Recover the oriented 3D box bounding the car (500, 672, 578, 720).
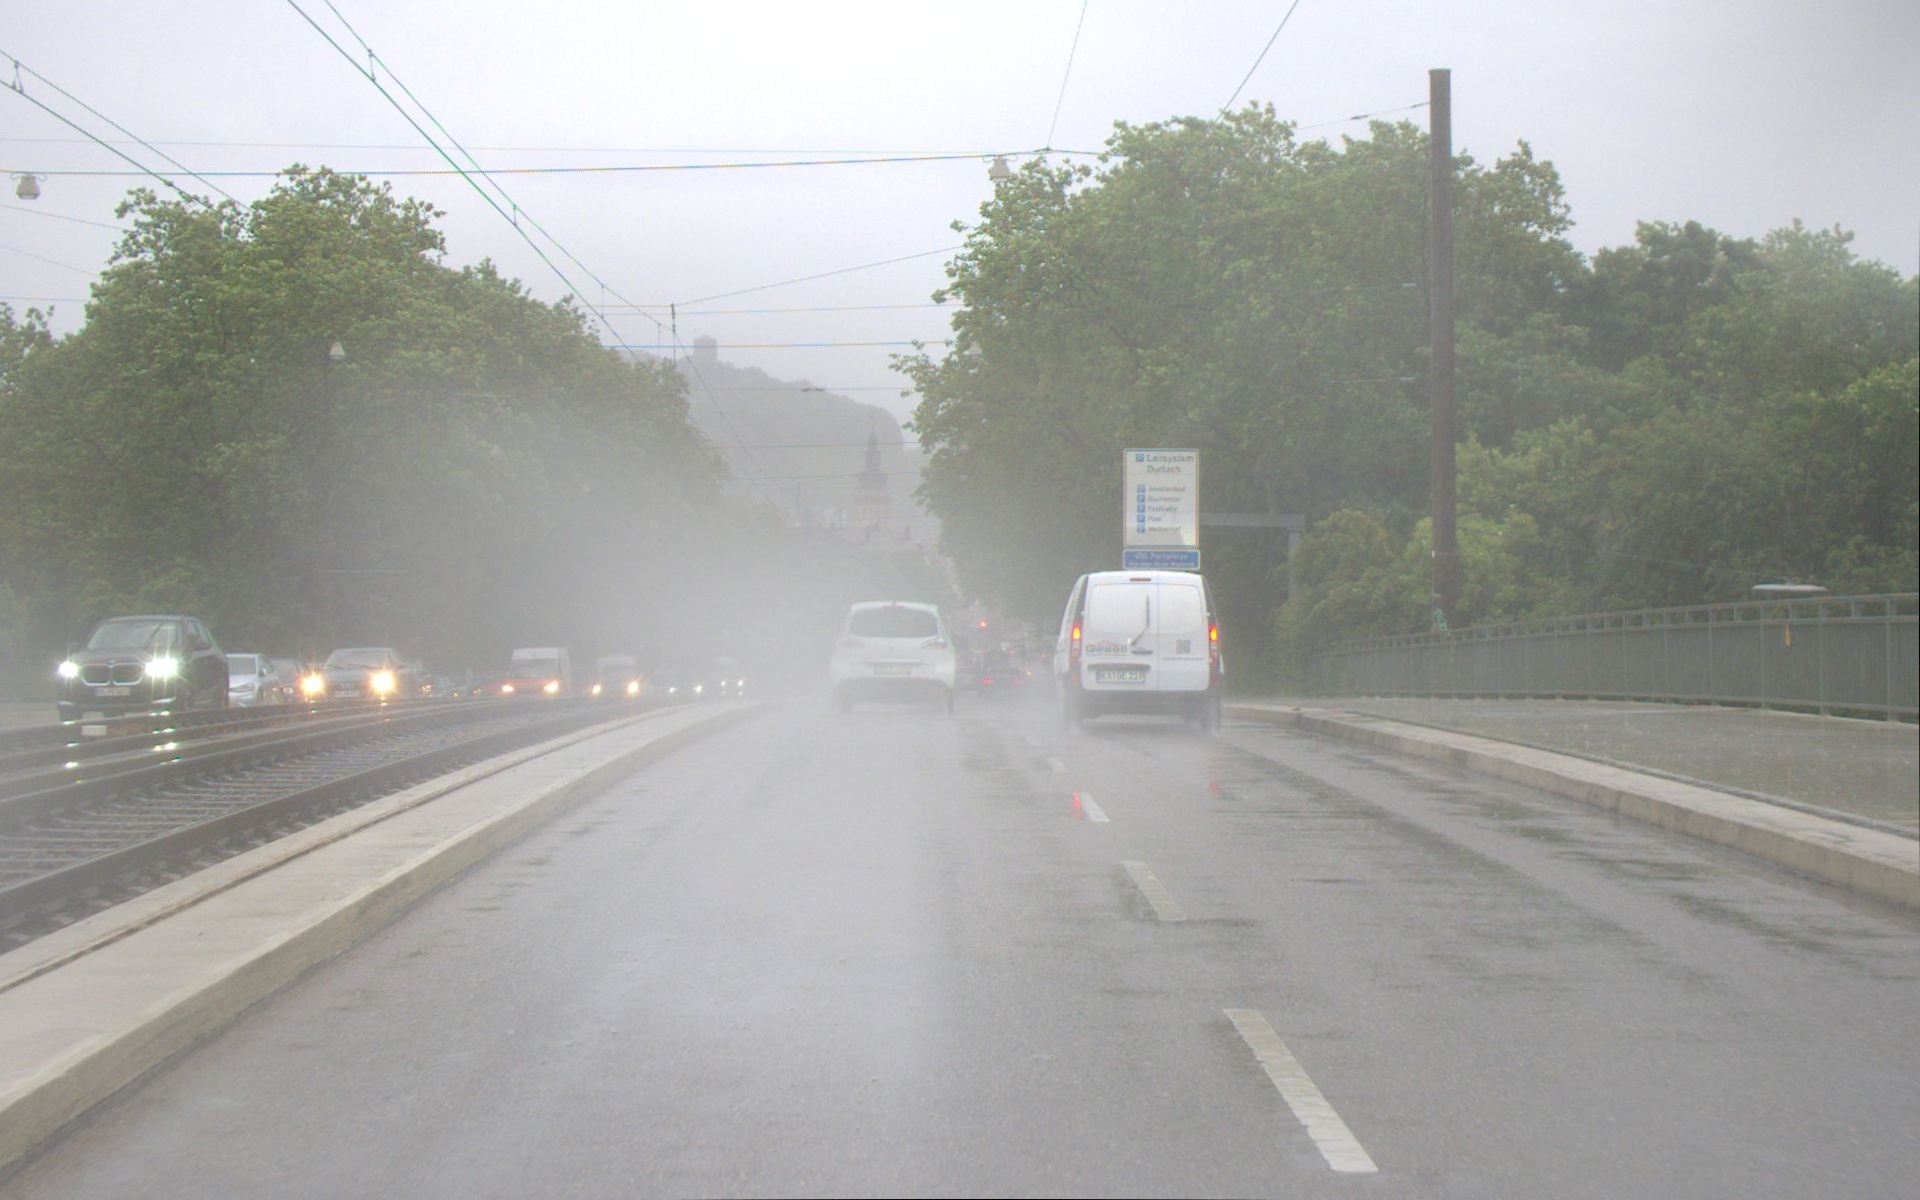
[{"bbox_3d":[-12.580,2.850,102.920,1.799,1.311,4.083,1,-1,0],"label":"car"}]

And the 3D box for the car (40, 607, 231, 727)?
[{"bbox_3d":[-12.088,0.968,50.615,1.818,1.649,4.000,1,-1,0],"label":"car"}]

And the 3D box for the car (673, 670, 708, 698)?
[{"bbox_3d":[-14.517,4.505,185.373,1.506,1.396,4.707,-2,0,0],"label":"car"}]

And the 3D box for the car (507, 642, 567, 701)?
[{"bbox_3d":[-16.344,2.754,132.998,1.741,2.162,5.814,-2,0,-2],"label":"car"}]

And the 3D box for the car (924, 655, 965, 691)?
[{"bbox_3d":[-0.790,3.818,179.974,1.993,1.821,4.000,1,-1,2],"label":"car"}]

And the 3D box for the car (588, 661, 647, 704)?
[{"bbox_3d":[-13.125,3.153,131.814,1.816,1.363,4.265,1,2,0],"label":"car"}]

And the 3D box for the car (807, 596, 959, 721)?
[{"bbox_3d":[-1.081,0.846,50.421,1.993,1.711,4.000,1,-1,2],"label":"car"}]

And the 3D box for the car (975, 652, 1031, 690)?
[{"bbox_3d":[1.634,2.648,128.870,1.993,1.317,4.000,1,-1,2],"label":"car"}]

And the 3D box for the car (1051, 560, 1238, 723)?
[{"bbox_3d":[2.053,0.470,39.231,1.993,1.720,4.000,1,-1,2],"label":"car"}]

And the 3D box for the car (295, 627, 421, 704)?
[{"bbox_3d":[-12.146,1.308,69.586,1.799,1.477,4.083,1,-1,0],"label":"car"}]
